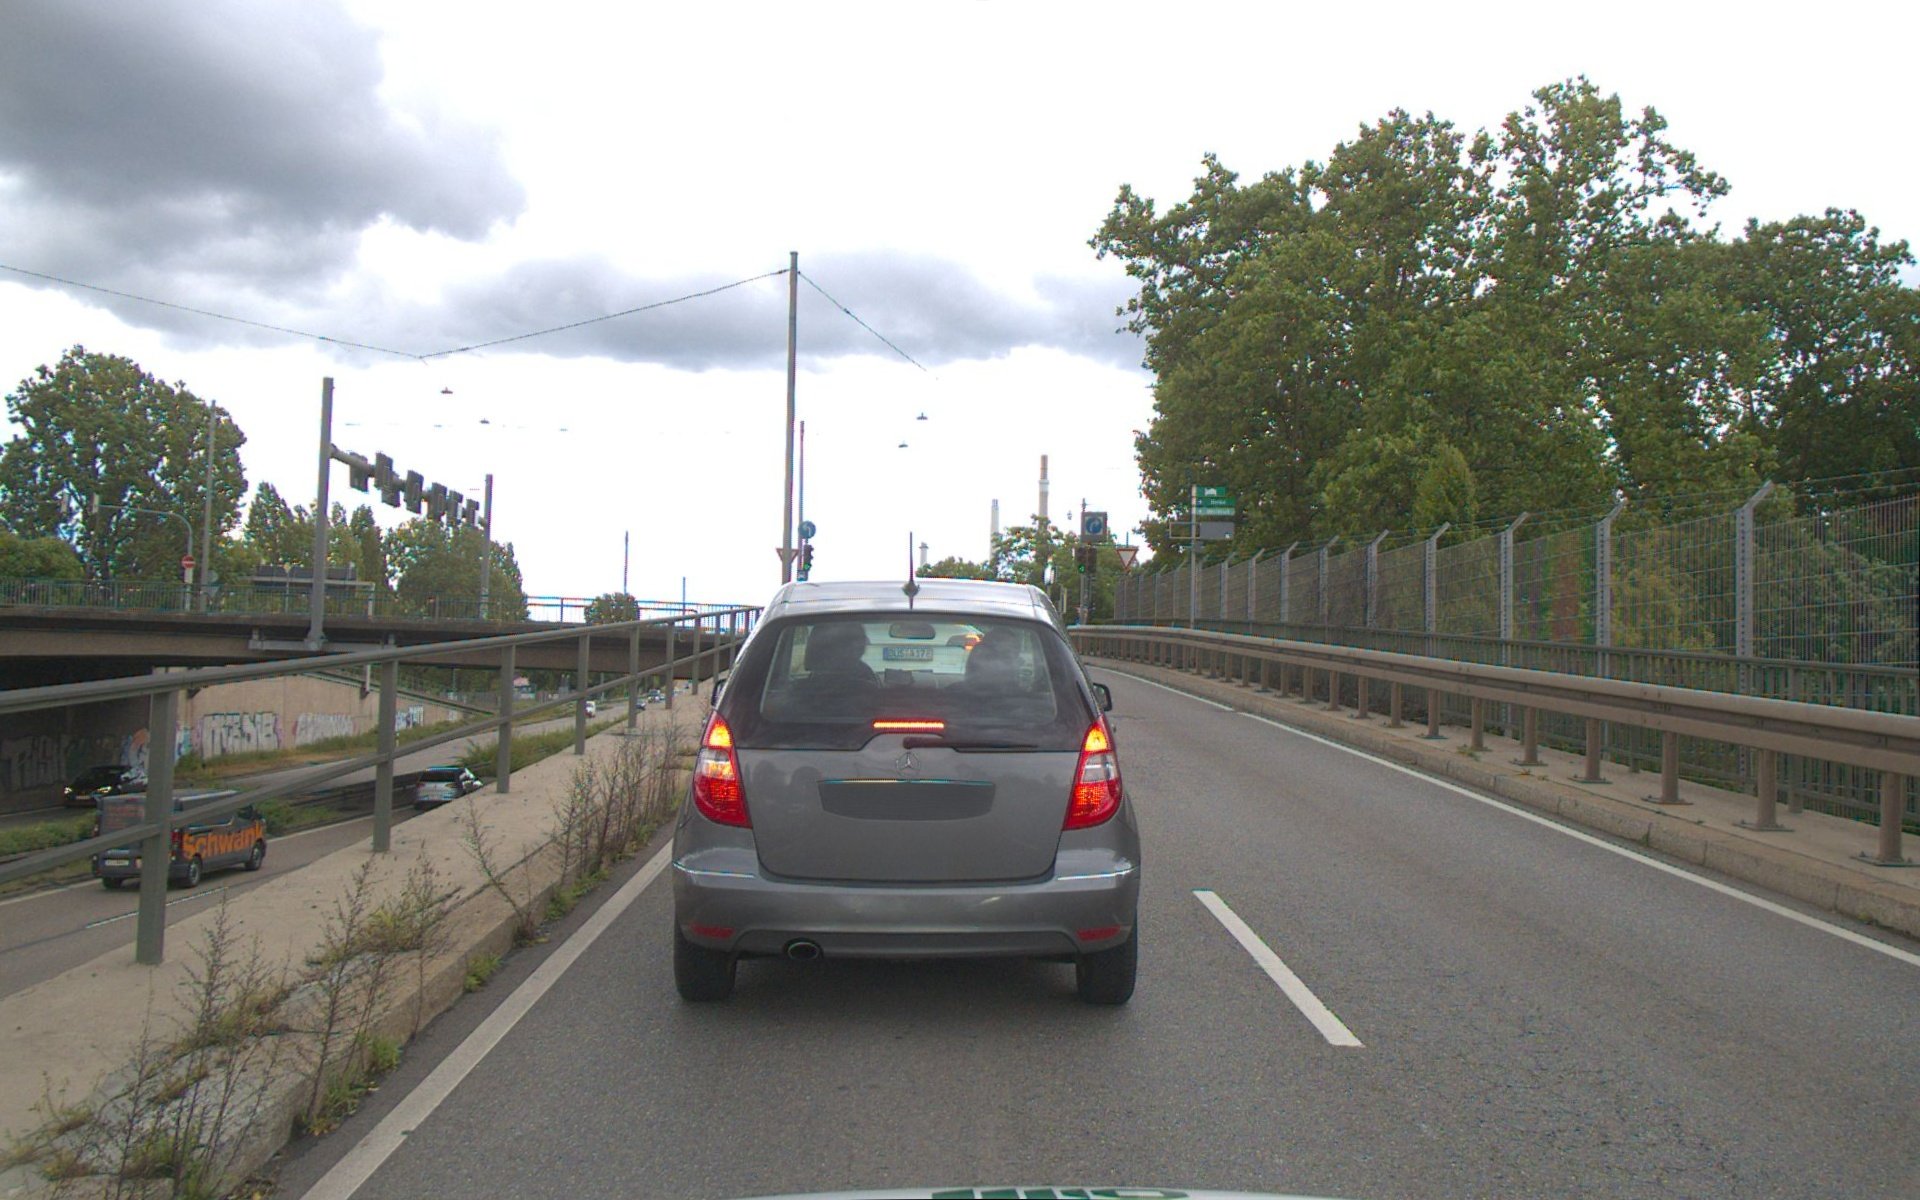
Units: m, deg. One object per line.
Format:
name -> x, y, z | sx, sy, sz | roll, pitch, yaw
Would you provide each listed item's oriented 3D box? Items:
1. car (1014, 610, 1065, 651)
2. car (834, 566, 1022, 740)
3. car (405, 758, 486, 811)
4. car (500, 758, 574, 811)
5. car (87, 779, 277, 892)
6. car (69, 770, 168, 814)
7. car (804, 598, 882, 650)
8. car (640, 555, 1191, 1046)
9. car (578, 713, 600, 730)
car -> 3.355, 1.250, 69.106 | 1.794, 1.604, 4.349 | 1, 0, 7
car -> -0.364, 0.552, 19.092 | 1.892, 1.747, 4.404 | 1, 0, -1
car -> -18.578, 6.649, 59.848 | 1.861, 1.650, 4.174 | 1, -3, -4
car -> -15.454, 6.720, 60.631 | 1.861, 1.650, 4.174 | 1, -3, -4
car -> -17.123, 5.149, 36.706 | 1.860, 2.038, 4.956 | 1, -3, -1
car -> -31.393, 7.141, 61.819 | 1.676, 1.400, 4.108 | -1, -3, -2
car -> -4.503, 0.888, 63.148 | 1.963, 1.903, 4.190 | 1, 0, -19
car -> -0.173, 0.671, 7.541 | 1.820, 1.616, 3.999 | 1, 0, -1
car -> -46.501, 15.219, 207.329 | 1.954, 2.103, 5.171 | 1, -3, -5
